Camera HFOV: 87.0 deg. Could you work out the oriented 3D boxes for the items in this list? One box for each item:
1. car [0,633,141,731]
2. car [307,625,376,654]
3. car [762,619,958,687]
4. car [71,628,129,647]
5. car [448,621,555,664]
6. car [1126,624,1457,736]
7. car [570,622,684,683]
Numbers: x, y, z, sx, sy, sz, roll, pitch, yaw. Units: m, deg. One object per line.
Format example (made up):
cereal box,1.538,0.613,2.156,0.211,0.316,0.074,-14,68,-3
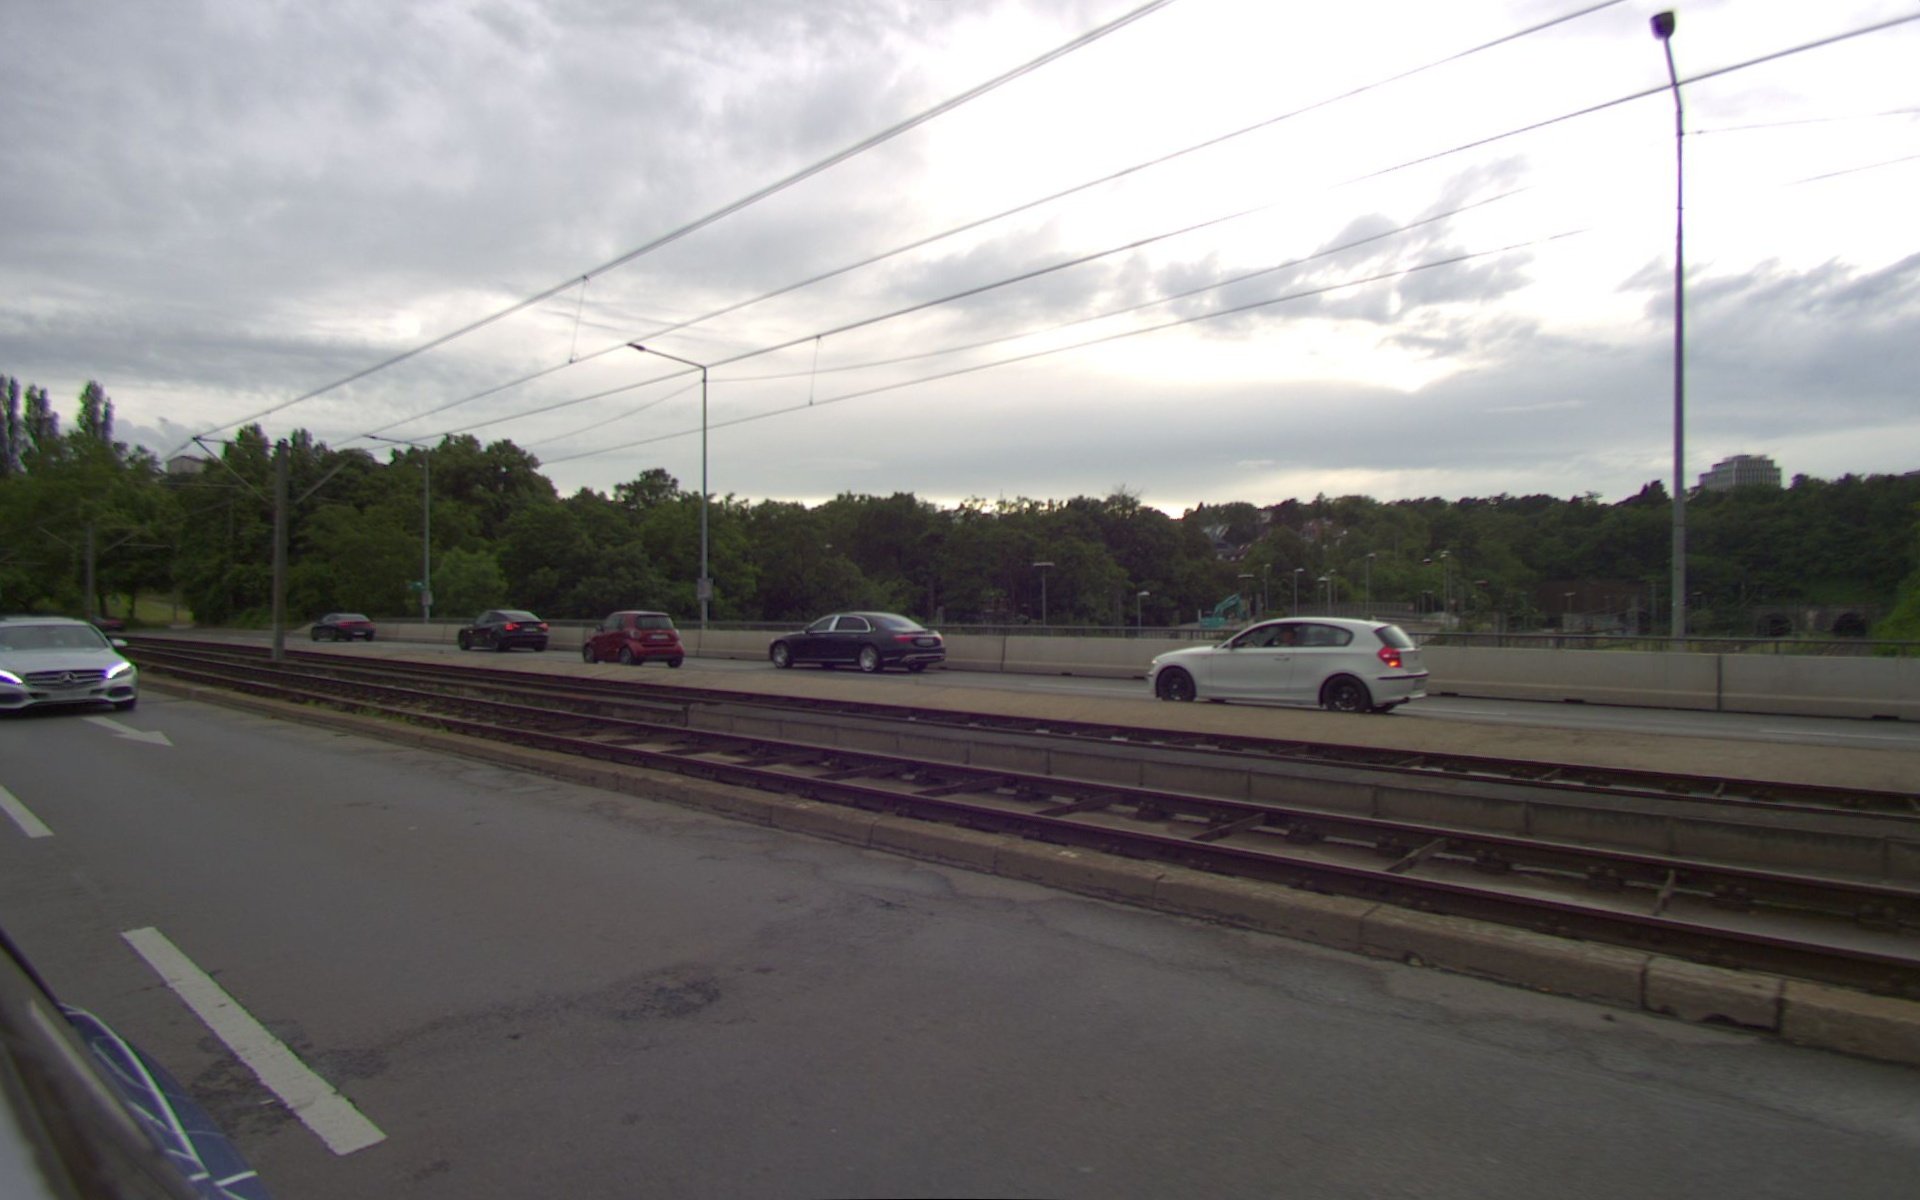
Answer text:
car,-14.483,1.213,15.948,4.059,1.366,1.847,-2,-3,42
car,-32.195,2.062,52.627,4.739,1.447,1.797,-2,-3,42
car,-2.679,1.379,26.280,5.177,1.609,1.950,-2,-4,38
car,-67.073,2.934,78.925,4.596,1.324,1.825,-3,-1,28
car,-18.002,1.691,39.660,4.725,1.609,1.878,-2,-4,38
car,4.921,1.115,15.424,4.489,1.448,1.712,-1,-3,41
car,-9.093,1.404,27.576,3.015,1.504,1.584,0,-2,40
